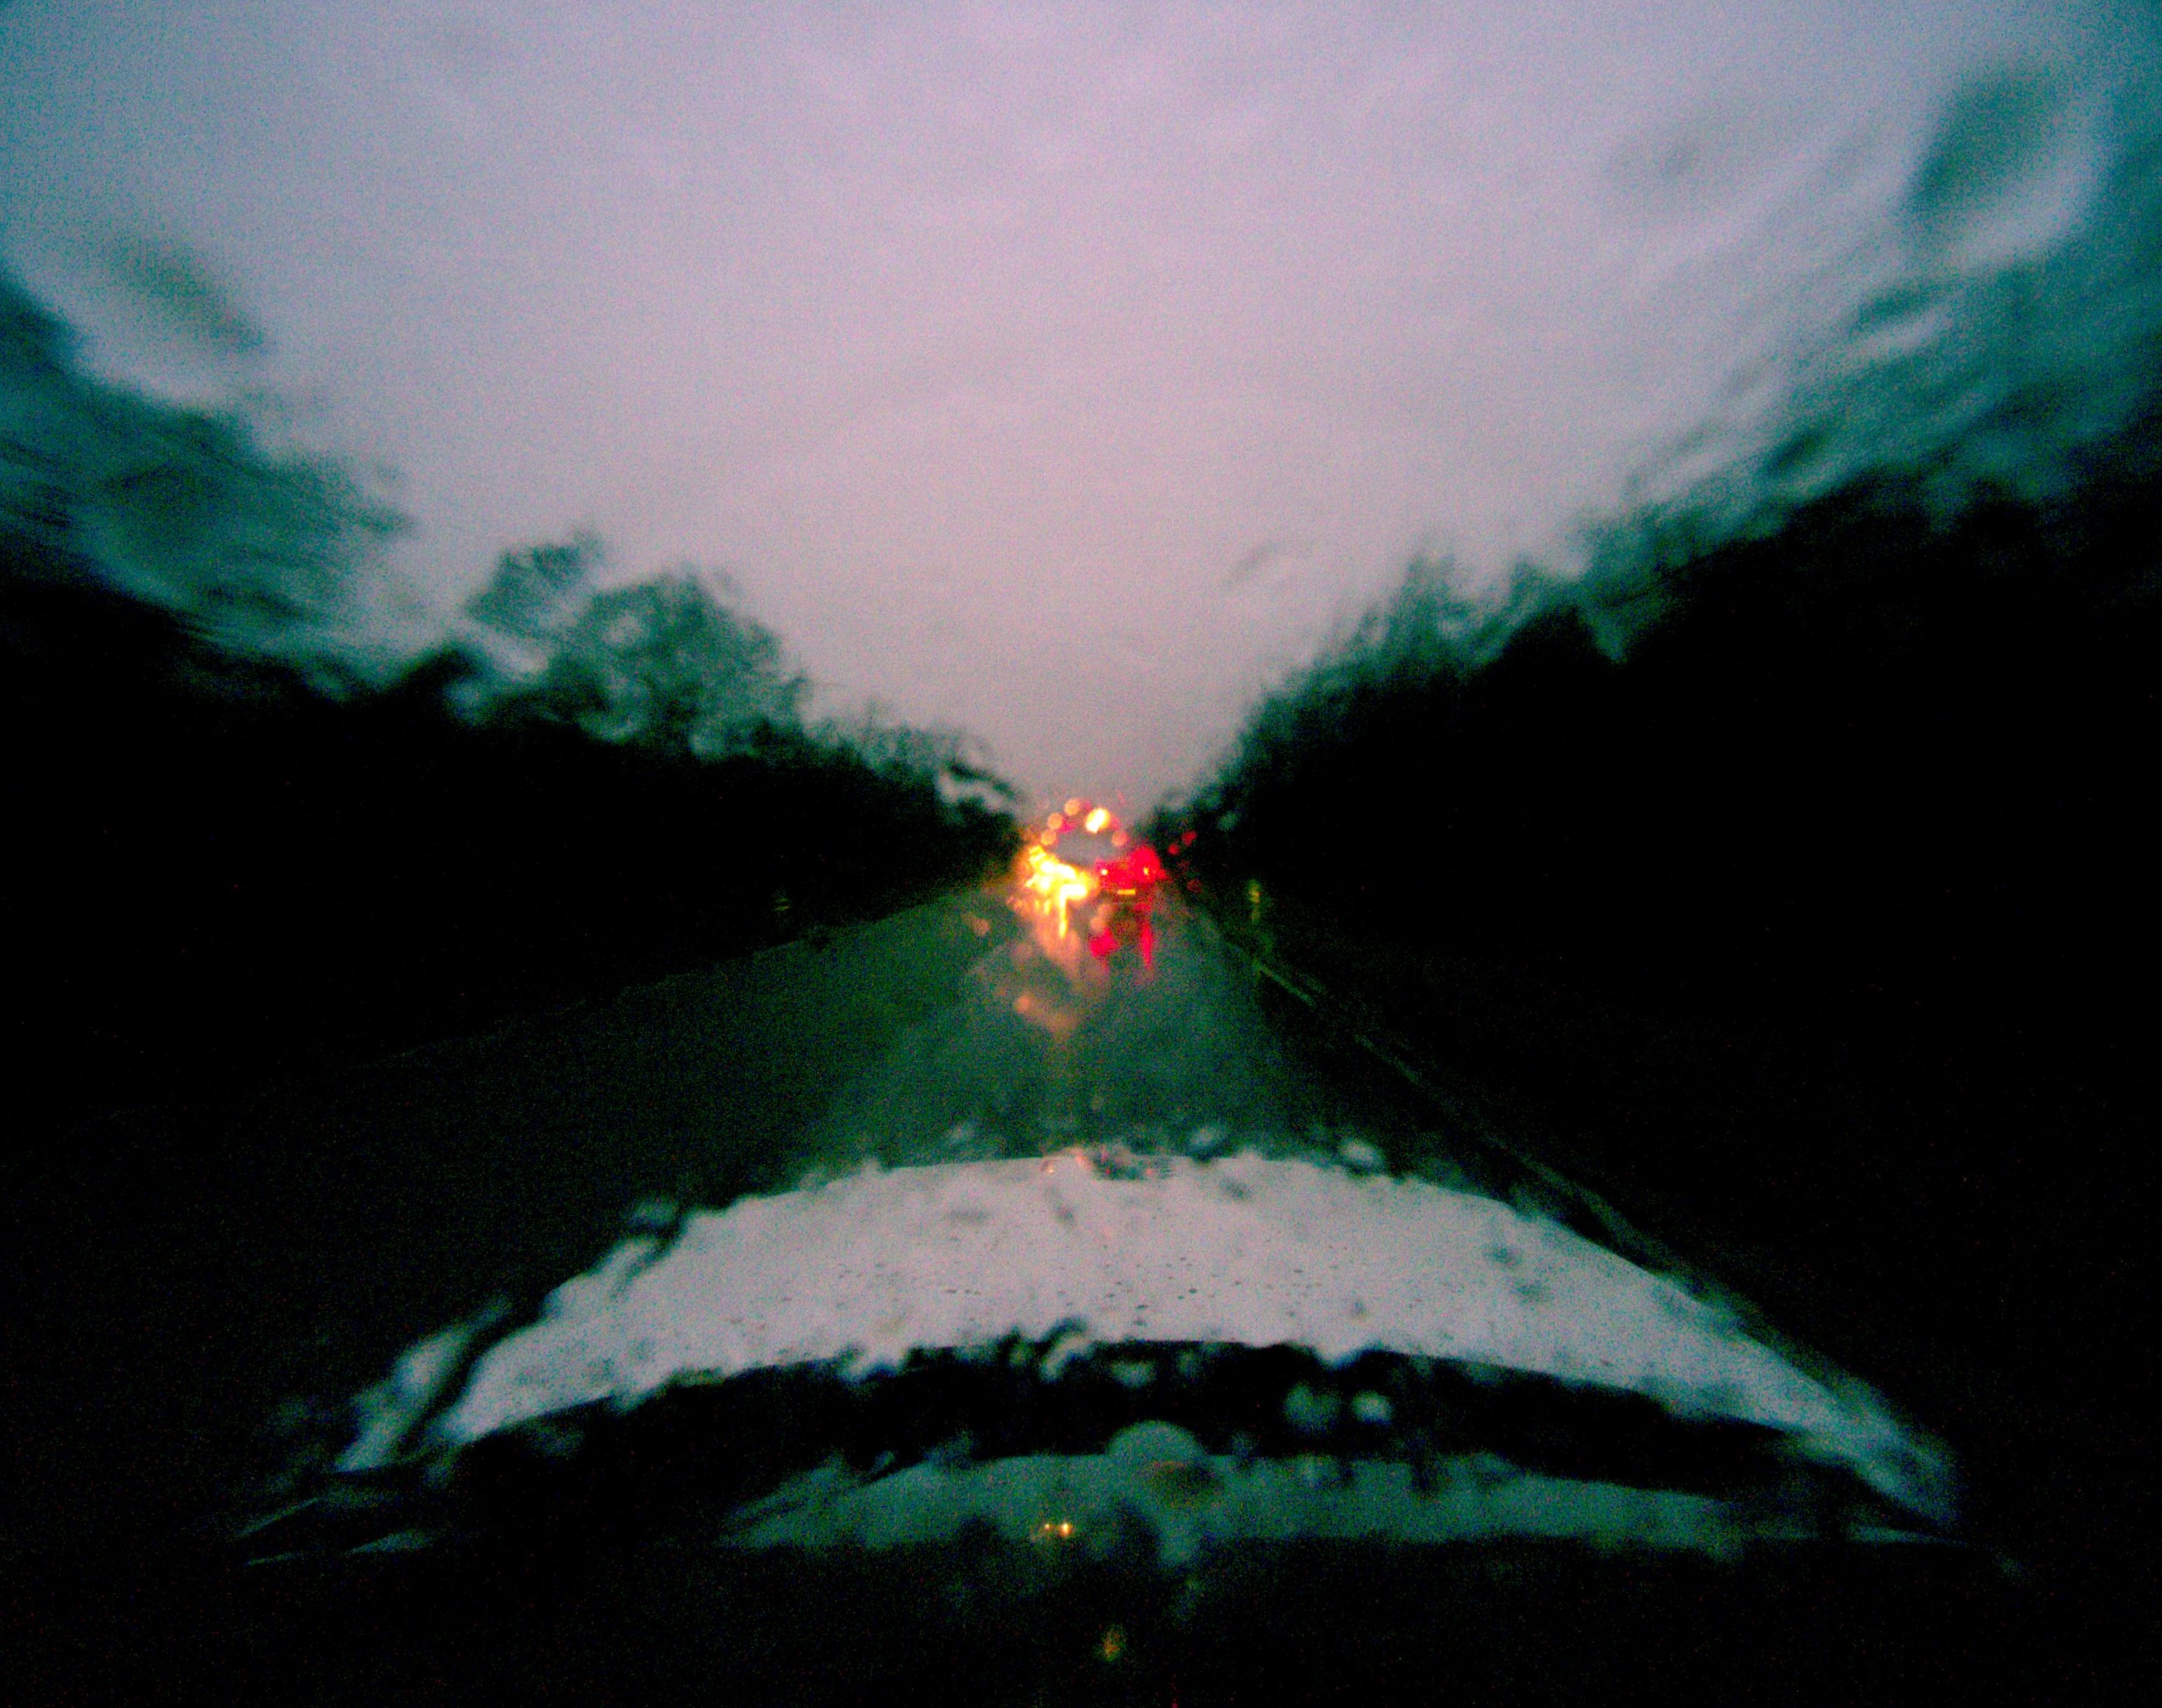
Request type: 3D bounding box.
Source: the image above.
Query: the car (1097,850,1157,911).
[{"bbox_3d":[1.311,0.743,24.192,1.642,1.672,3.515,0,0,2],"label":"car"}]

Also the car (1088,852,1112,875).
[{"bbox_3d":[1.479,0.723,63.145,1.727,1.779,4.001,0,0,1],"label":"car"}]

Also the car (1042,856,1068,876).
[{"bbox_3d":[-2.071,0.936,65.160,1.692,1.495,5.666,-1,0,2],"label":"car"}]
